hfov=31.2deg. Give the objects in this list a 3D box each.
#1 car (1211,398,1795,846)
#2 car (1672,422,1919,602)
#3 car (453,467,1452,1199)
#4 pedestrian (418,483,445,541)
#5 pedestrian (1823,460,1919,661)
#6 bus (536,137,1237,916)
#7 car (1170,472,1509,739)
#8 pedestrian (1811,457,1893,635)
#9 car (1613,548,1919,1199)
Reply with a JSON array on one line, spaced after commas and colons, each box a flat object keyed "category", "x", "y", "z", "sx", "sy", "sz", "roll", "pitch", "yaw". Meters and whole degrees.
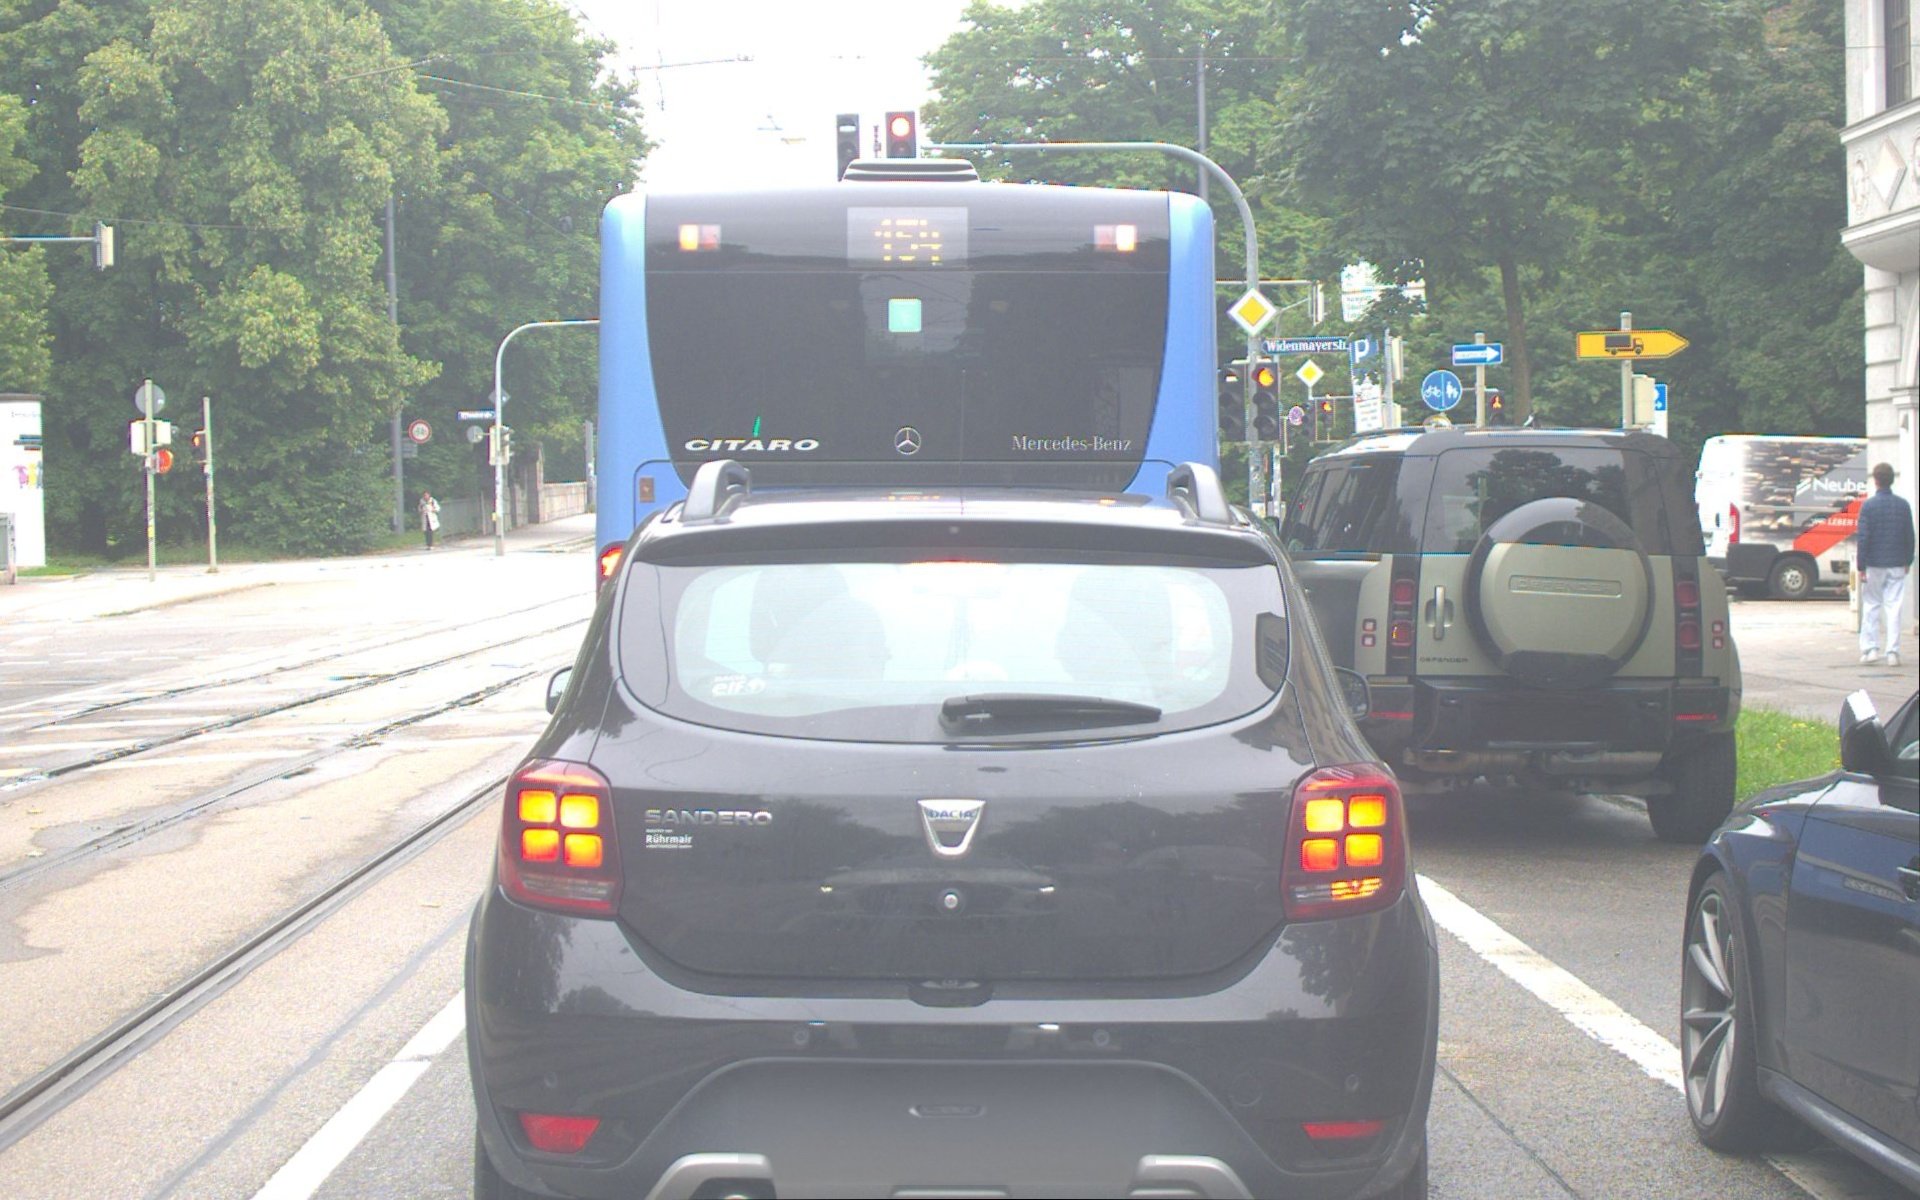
[{"category": "car", "x": 2.516, "y": 0.051, "z": 17.203, "sx": 1.914, "sy": 1.899, "sz": 4.809, "roll": 1, "pitch": 1, "yaw": -3}, {"category": "car", "x": 13.714, "y": -1.302, "z": 52.045, "sx": 5.295, "sy": 2.603, "sz": 2.231, "roll": 1, "pitch": 1, "yaw": -3}, {"category": "car", "x": -0.050, "y": 0.539, "z": 7.336, "sx": 1.600, "sy": 1.551, "sz": 3.525, "roll": 1, "pitch": 1, "yaw": -1}, {"category": "pedestrian", "x": -13.587, "y": -2.263, "z": 88.408, "sx": 0.532, "sy": 1.496, "sz": 0.588, "roll": 1, "pitch": 1, "yaw": 4}, {"category": "pedestrian", "x": 8.406, "y": -0.369, "z": 31.555, "sx": 0.705, "sy": 1.810, "sz": 0.870, "roll": 1, "pitch": 1, "yaw": -1}, {"category": "bus", "x": -0.429, "y": -0.347, "z": 16.844, "sx": 2.678, "sy": 2.987, "sz": 6.962, "roll": 1, "pitch": 1, "yaw": -2}, {"category": "car", "x": 2.423, "y": -0.008, "z": 22.913, "sx": 1.714, "sy": 1.586, "sz": 4.327, "roll": 1, "pitch": 1, "yaw": -1}, {"category": "pedestrian", "x": 10.196, "y": -0.620, "z": 39.316, "sx": 0.714, "sy": 2.007, "sz": 0.675, "roll": -1, "pitch": 1, "yaw": -3}, {"category": "car", "x": 2.597, "y": 0.635, "z": 6.552, "sx": 1.716, "sy": 1.421, "sz": 4.603, "roll": 1, "pitch": 1, "yaw": -1}]
